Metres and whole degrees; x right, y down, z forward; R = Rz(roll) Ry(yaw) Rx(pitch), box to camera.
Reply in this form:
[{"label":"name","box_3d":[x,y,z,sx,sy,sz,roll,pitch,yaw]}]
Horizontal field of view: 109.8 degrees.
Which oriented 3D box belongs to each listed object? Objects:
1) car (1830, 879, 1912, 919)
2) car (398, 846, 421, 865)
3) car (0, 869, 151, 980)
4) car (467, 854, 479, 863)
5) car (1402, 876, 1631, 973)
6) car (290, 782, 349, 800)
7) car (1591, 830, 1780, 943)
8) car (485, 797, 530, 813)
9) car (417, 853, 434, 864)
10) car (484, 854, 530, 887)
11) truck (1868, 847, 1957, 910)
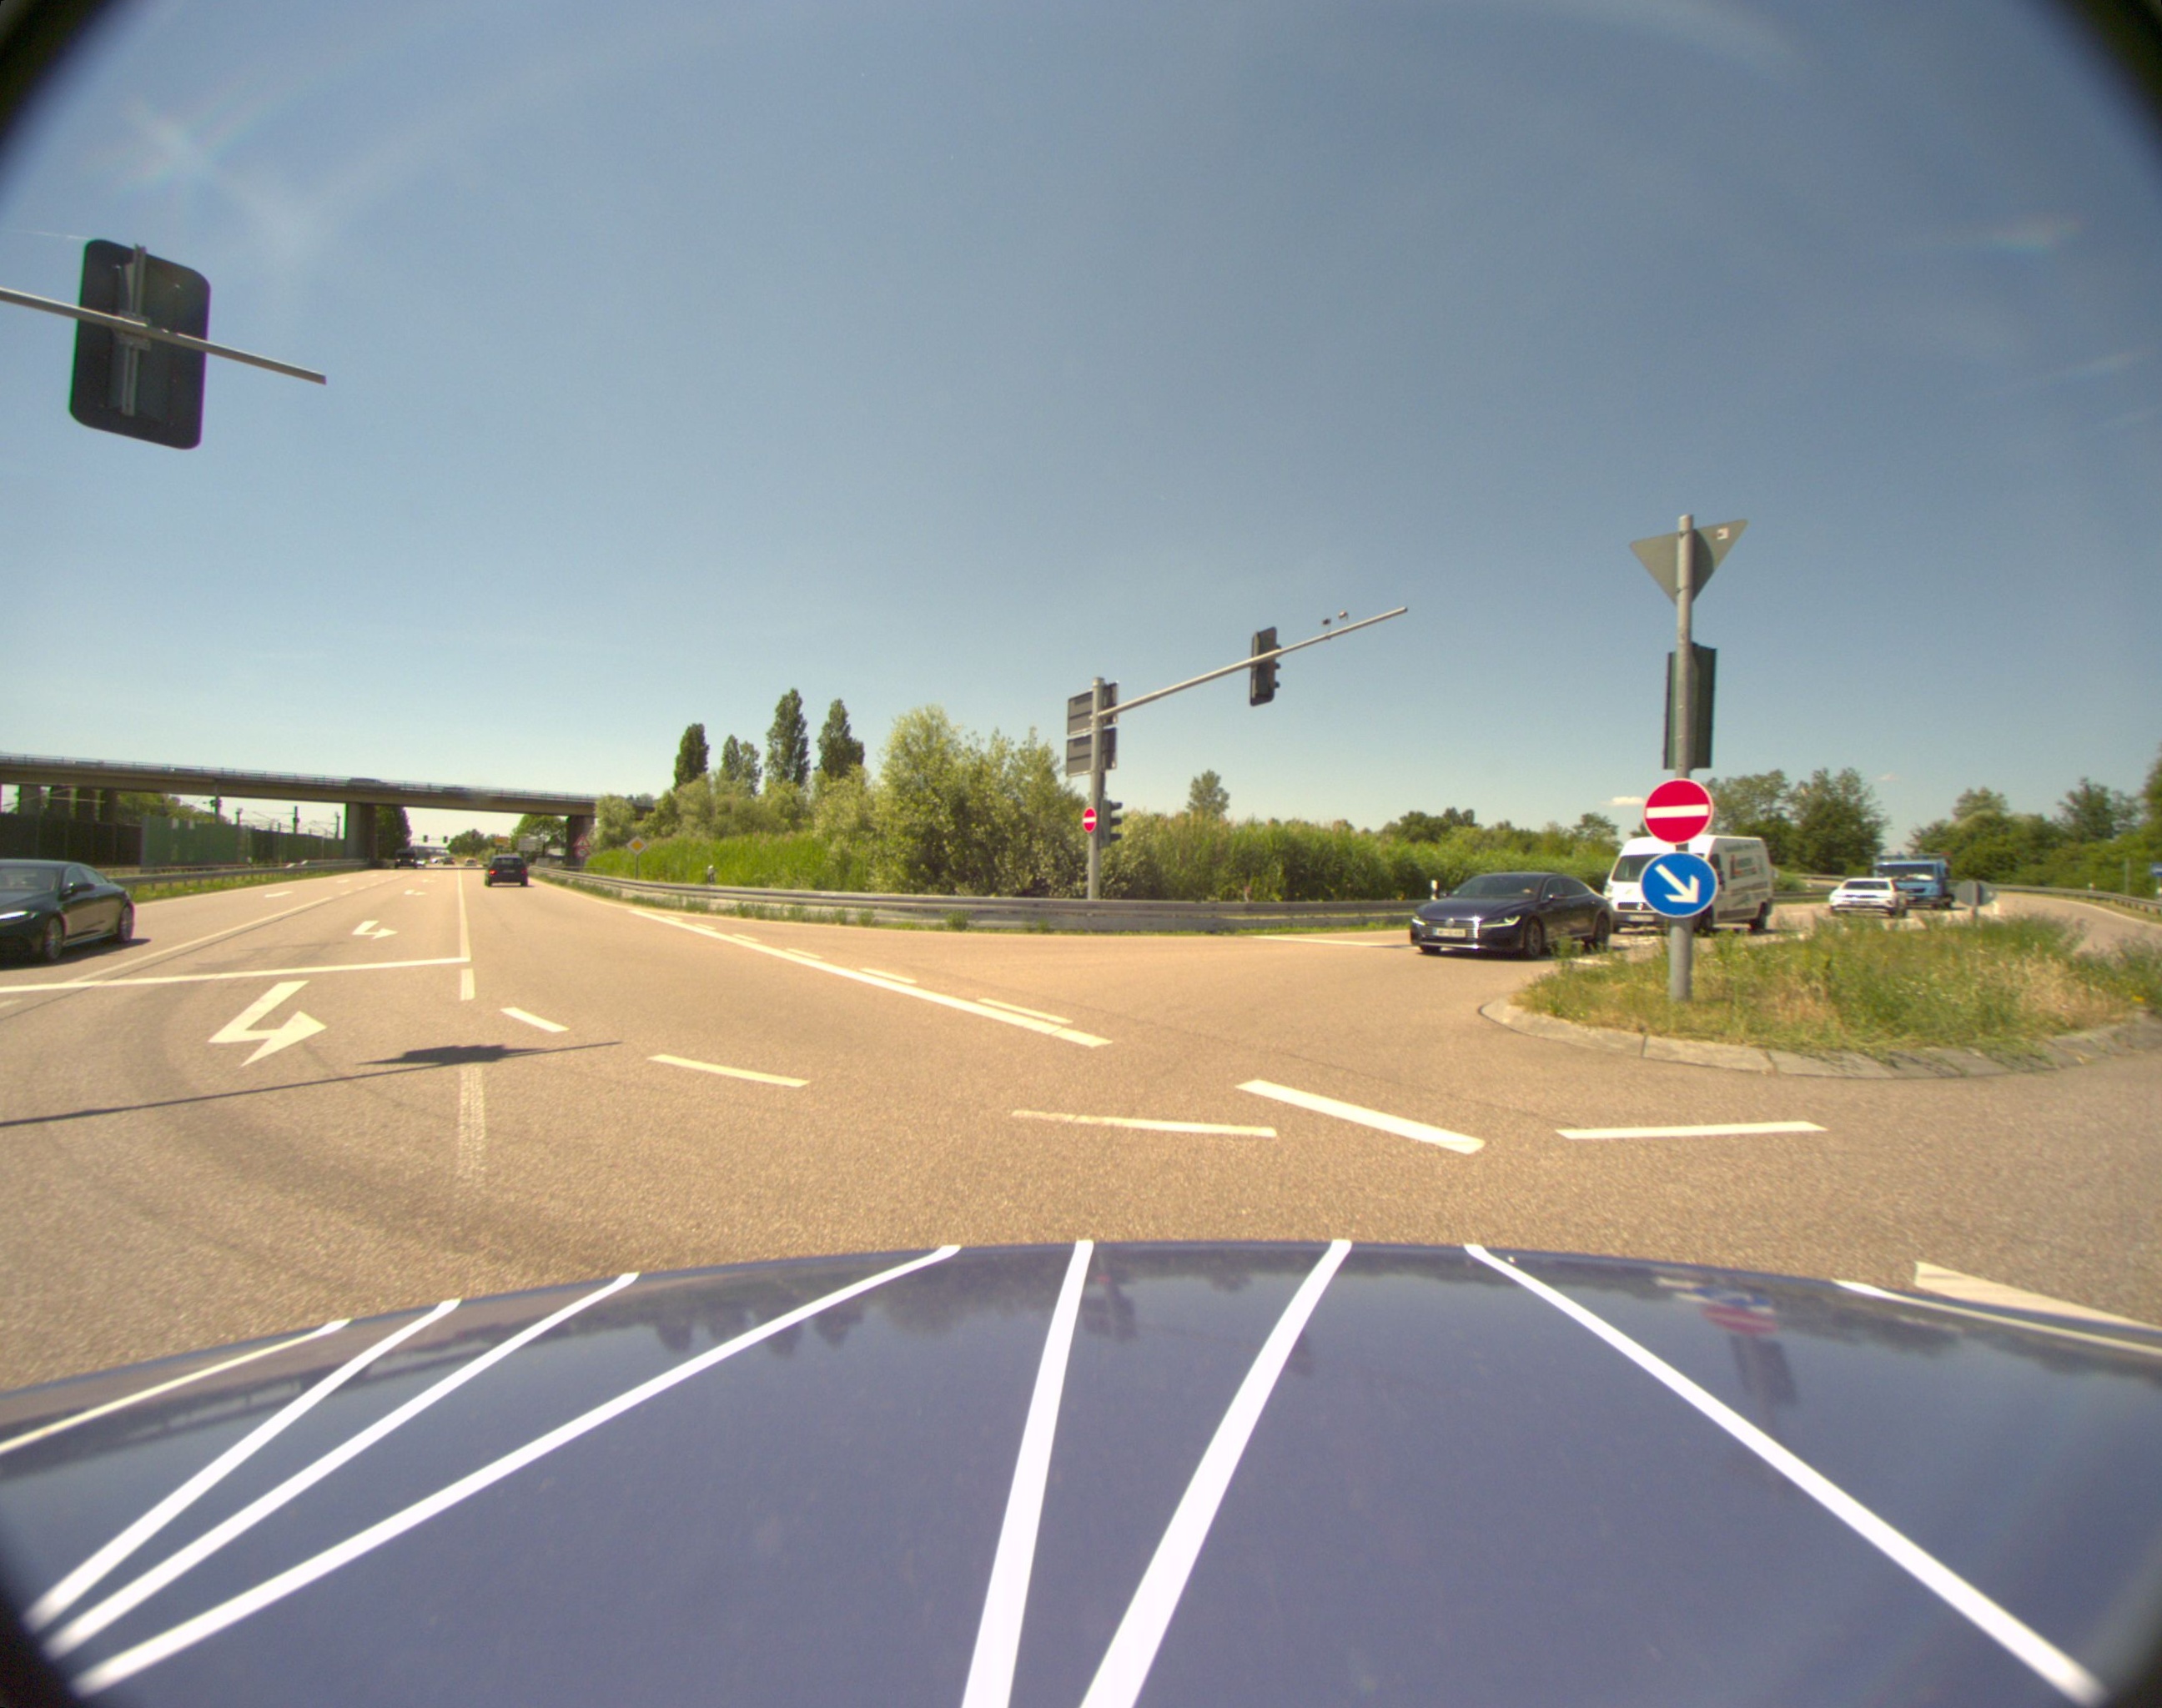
[{"label":"car","box_3d":[31.172,1.739,29.949,3.968,1.427,1.717,2,-1,-36]},{"label":"car","box_3d":[-84.794,0.194,95.983,1.917,2.427,4.635,0,0,-38]},{"label":"car","box_3d":[-15.884,0.947,11.109,1.917,1.356,4.635,0,0,-38]},{"label":"car","box_3d":[-109.880,0.865,137.301,1.593,1.553,3.677,0,0,-38]},{"label":"car","box_3d":[7.772,1.125,13.395,4.572,1.414,1.844,2,-2,-37]},{"label":"car","box_3d":[-89.981,-7.376,89.880,4.656,1.779,1.908,0,0,-35]},{"label":"car","box_3d":[15.454,0.818,19.292,5.995,2.480,2.224,2,-2,-36]},{"label":"car","box_3d":[-75.796,-6.470,100.447,4.656,1.779,1.908,0,0,-34]},{"label":"car","box_3d":[-103.682,0.650,120.265,1.848,1.680,3.989,1,-1,-39]},{"label":"car","box_3d":[-29.554,0.822,39.081,1.647,1.587,3.551,1,-1,-40]},{"label":"truck","box_3d":[46.258,1.346,42.173,9.197,3.176,2.688,2,-1,-39]}]
